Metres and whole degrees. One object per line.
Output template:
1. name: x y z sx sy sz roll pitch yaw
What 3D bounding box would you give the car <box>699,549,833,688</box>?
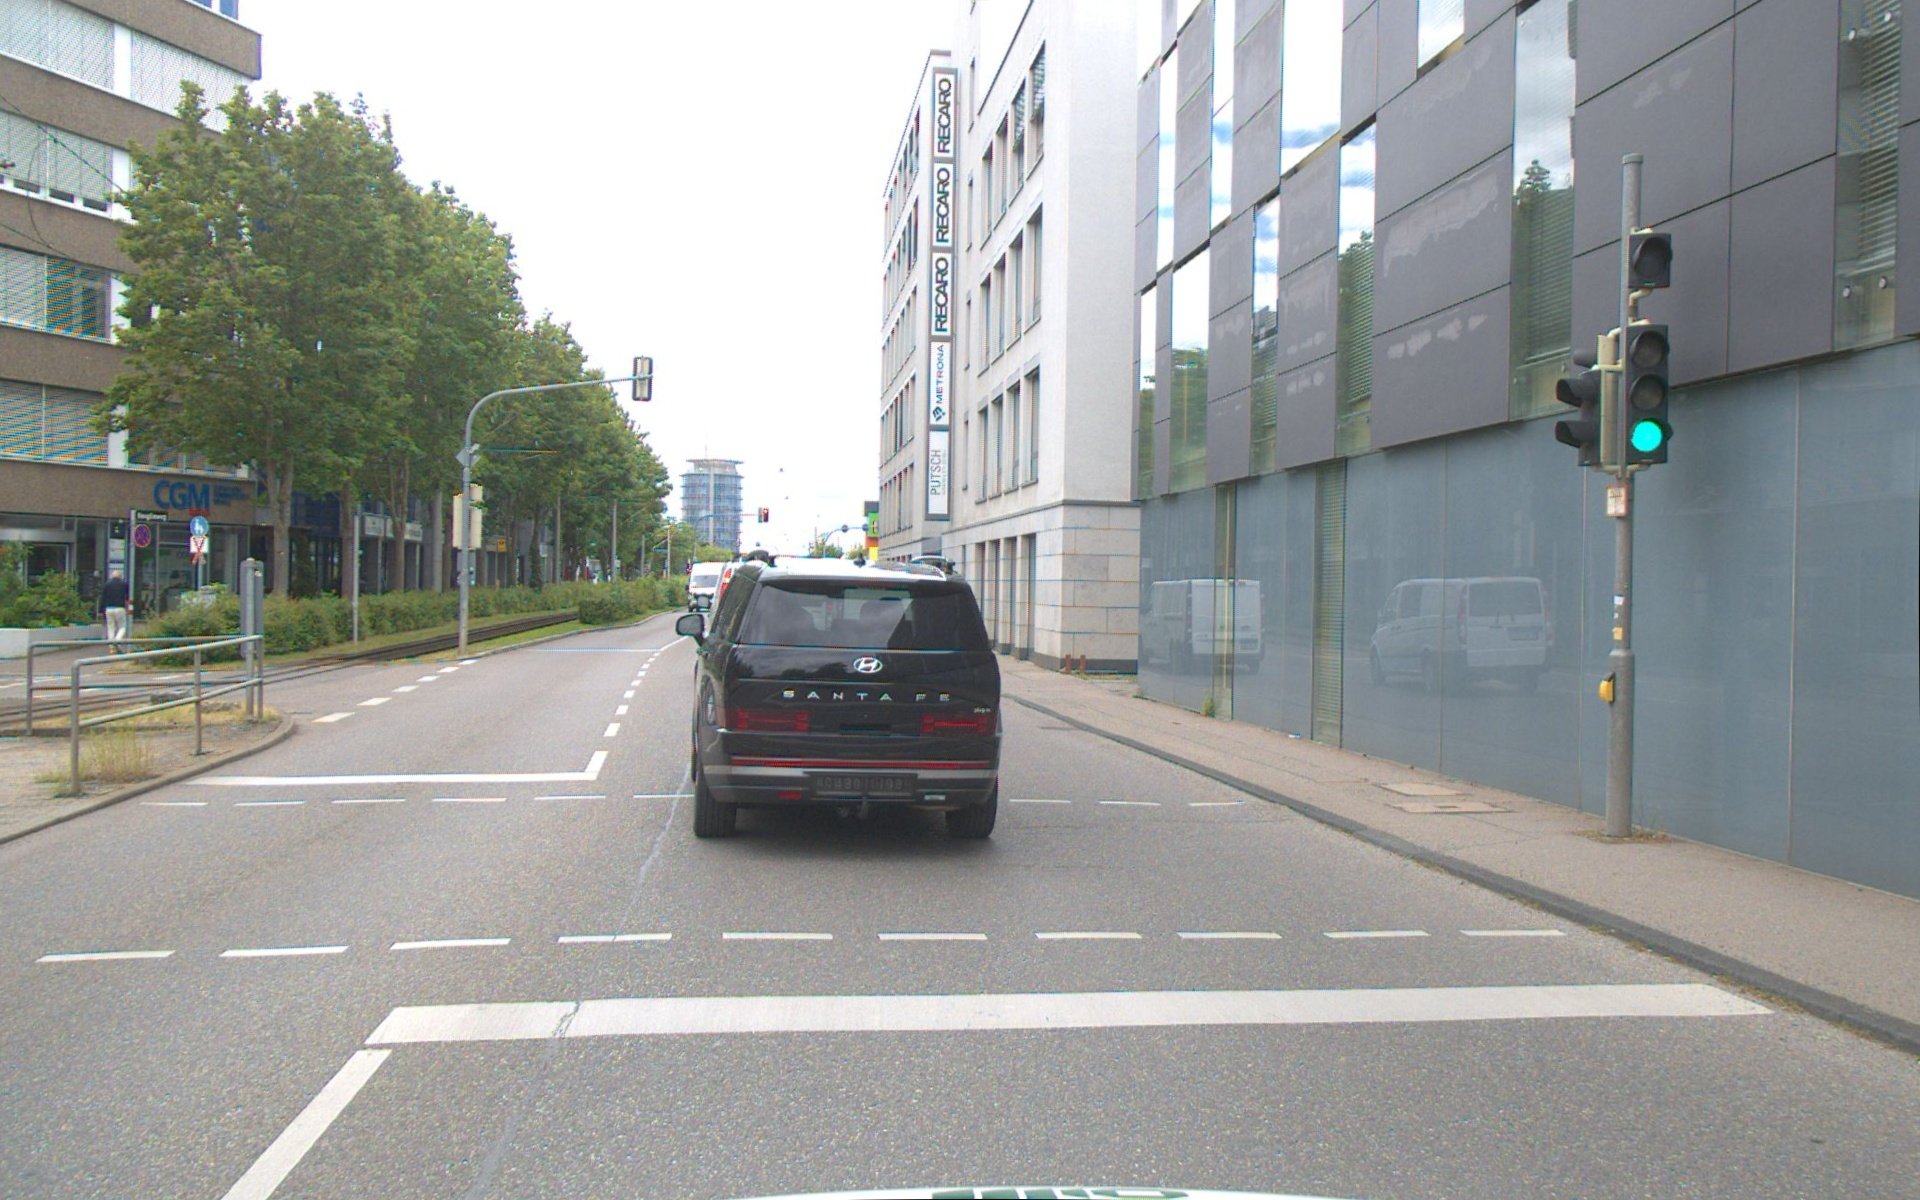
1. car: -3.200 0.257 26.537 1.896 2.029 4.525 1 0 -10

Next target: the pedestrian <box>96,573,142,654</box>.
1. pedestrian: -18.301 0.287 35.998 0.674 1.735 0.682 -1 0 -5

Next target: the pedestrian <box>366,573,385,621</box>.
1. pedestrian: -24.983 -0.141 70.686 0.668 2.049 0.570 0 0 -7

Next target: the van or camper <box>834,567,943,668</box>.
1. van or camper: -1.578 0.335 34.973 1.955 1.949 4.325 2 0 -7

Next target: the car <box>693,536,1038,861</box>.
1. car: -0.857 0.539 11.382 1.874 1.780 4.386 1 0 -10

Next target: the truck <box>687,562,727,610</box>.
1. truck: -14.469 -0.782 94.784 2.124 2.661 5.786 0 0 -8
